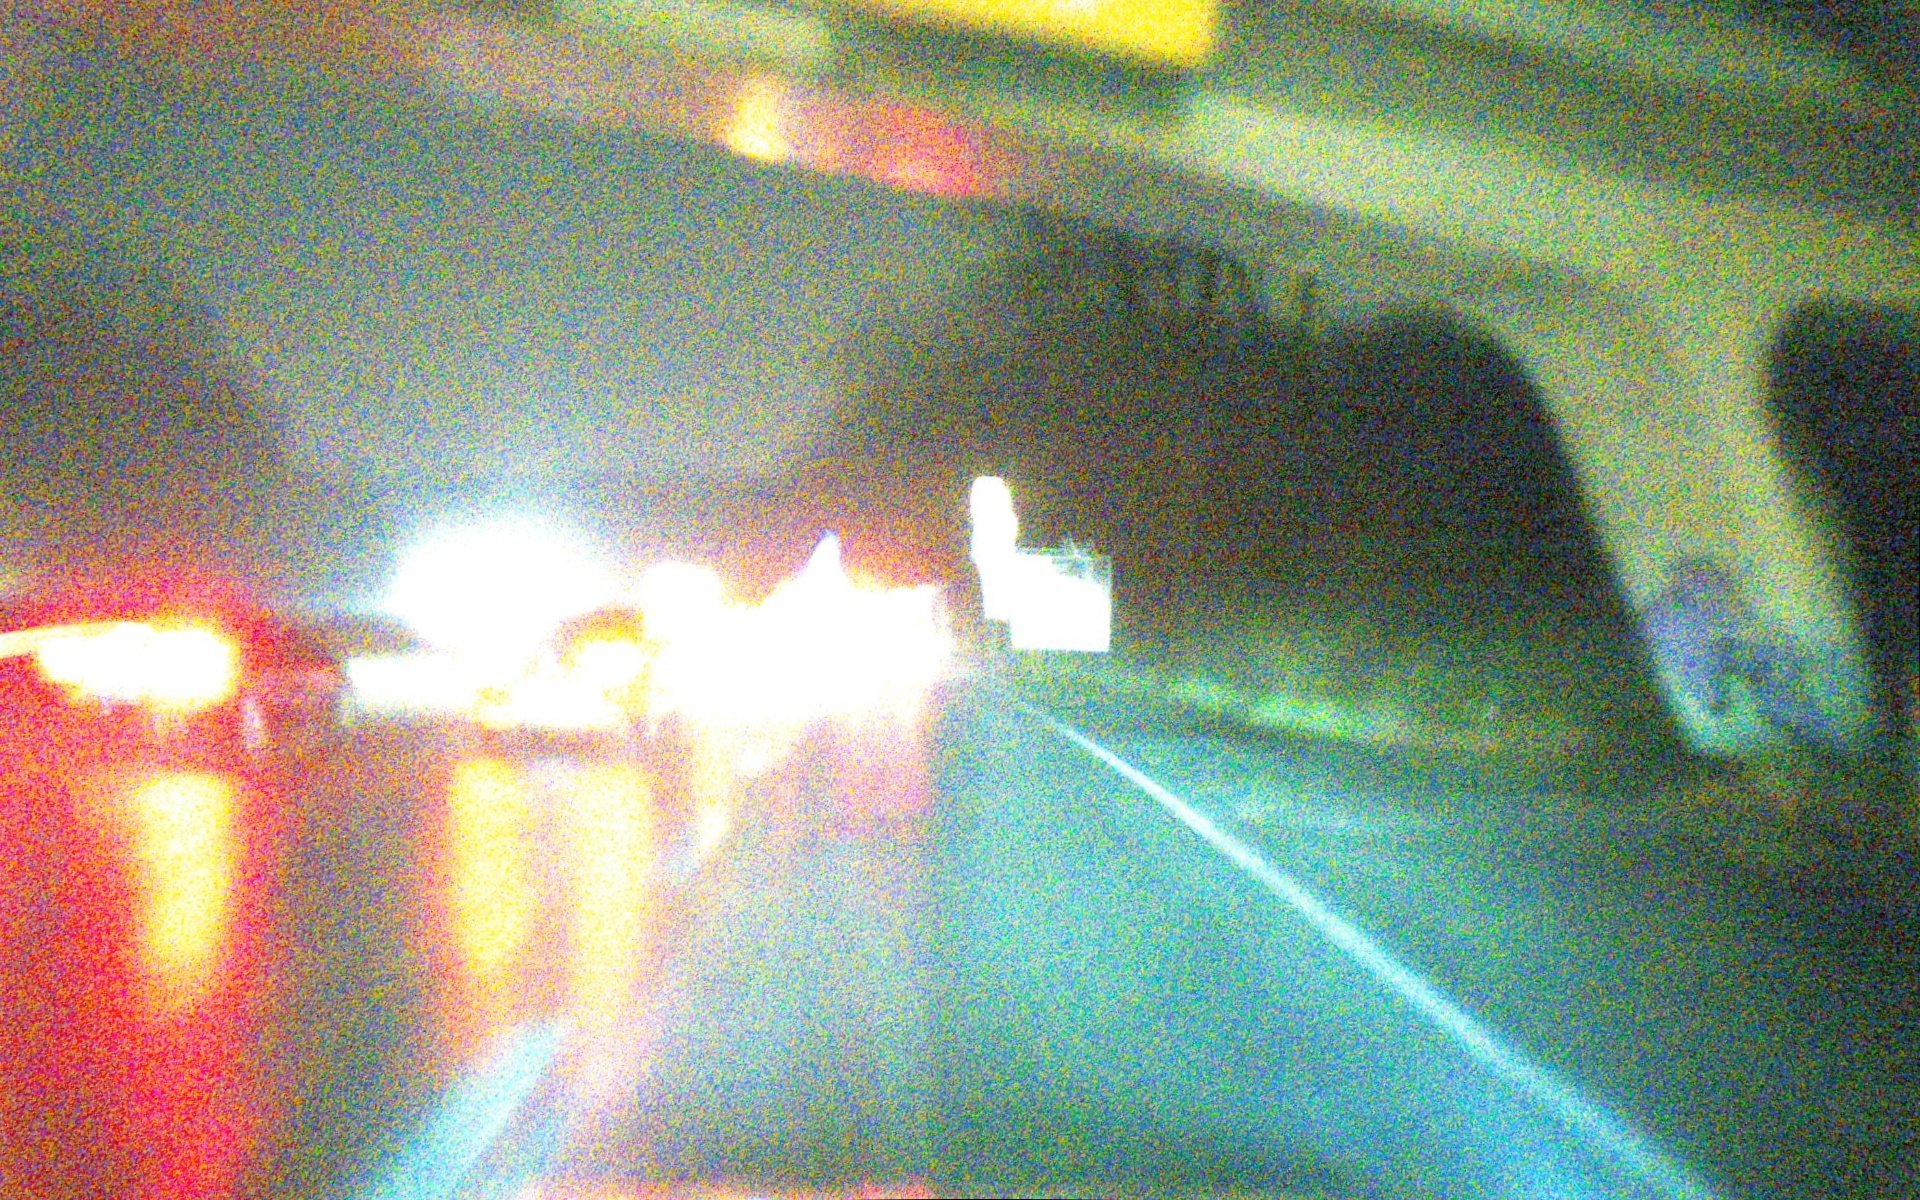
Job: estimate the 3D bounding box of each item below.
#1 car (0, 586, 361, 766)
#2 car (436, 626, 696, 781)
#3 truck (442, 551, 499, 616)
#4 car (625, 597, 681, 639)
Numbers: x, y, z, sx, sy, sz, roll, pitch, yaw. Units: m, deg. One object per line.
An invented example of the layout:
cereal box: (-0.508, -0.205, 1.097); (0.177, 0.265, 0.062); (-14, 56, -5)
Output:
car: (-7.859, 0.677, 16.964); (1.732, 1.543, 4.913); (1, 0, -2)
car: (-4.030, 1.014, 17.600); (1.923, 1.405, 4.046); (2, -1, -3)
truck: (-27.858, -0.905, 94.292); (2.558, 3.518, 4.628); (1, -1, -11)
car: (-12.275, 0.732, 66.251); (1.856, 1.578, 3.994); (1, -1, -6)
